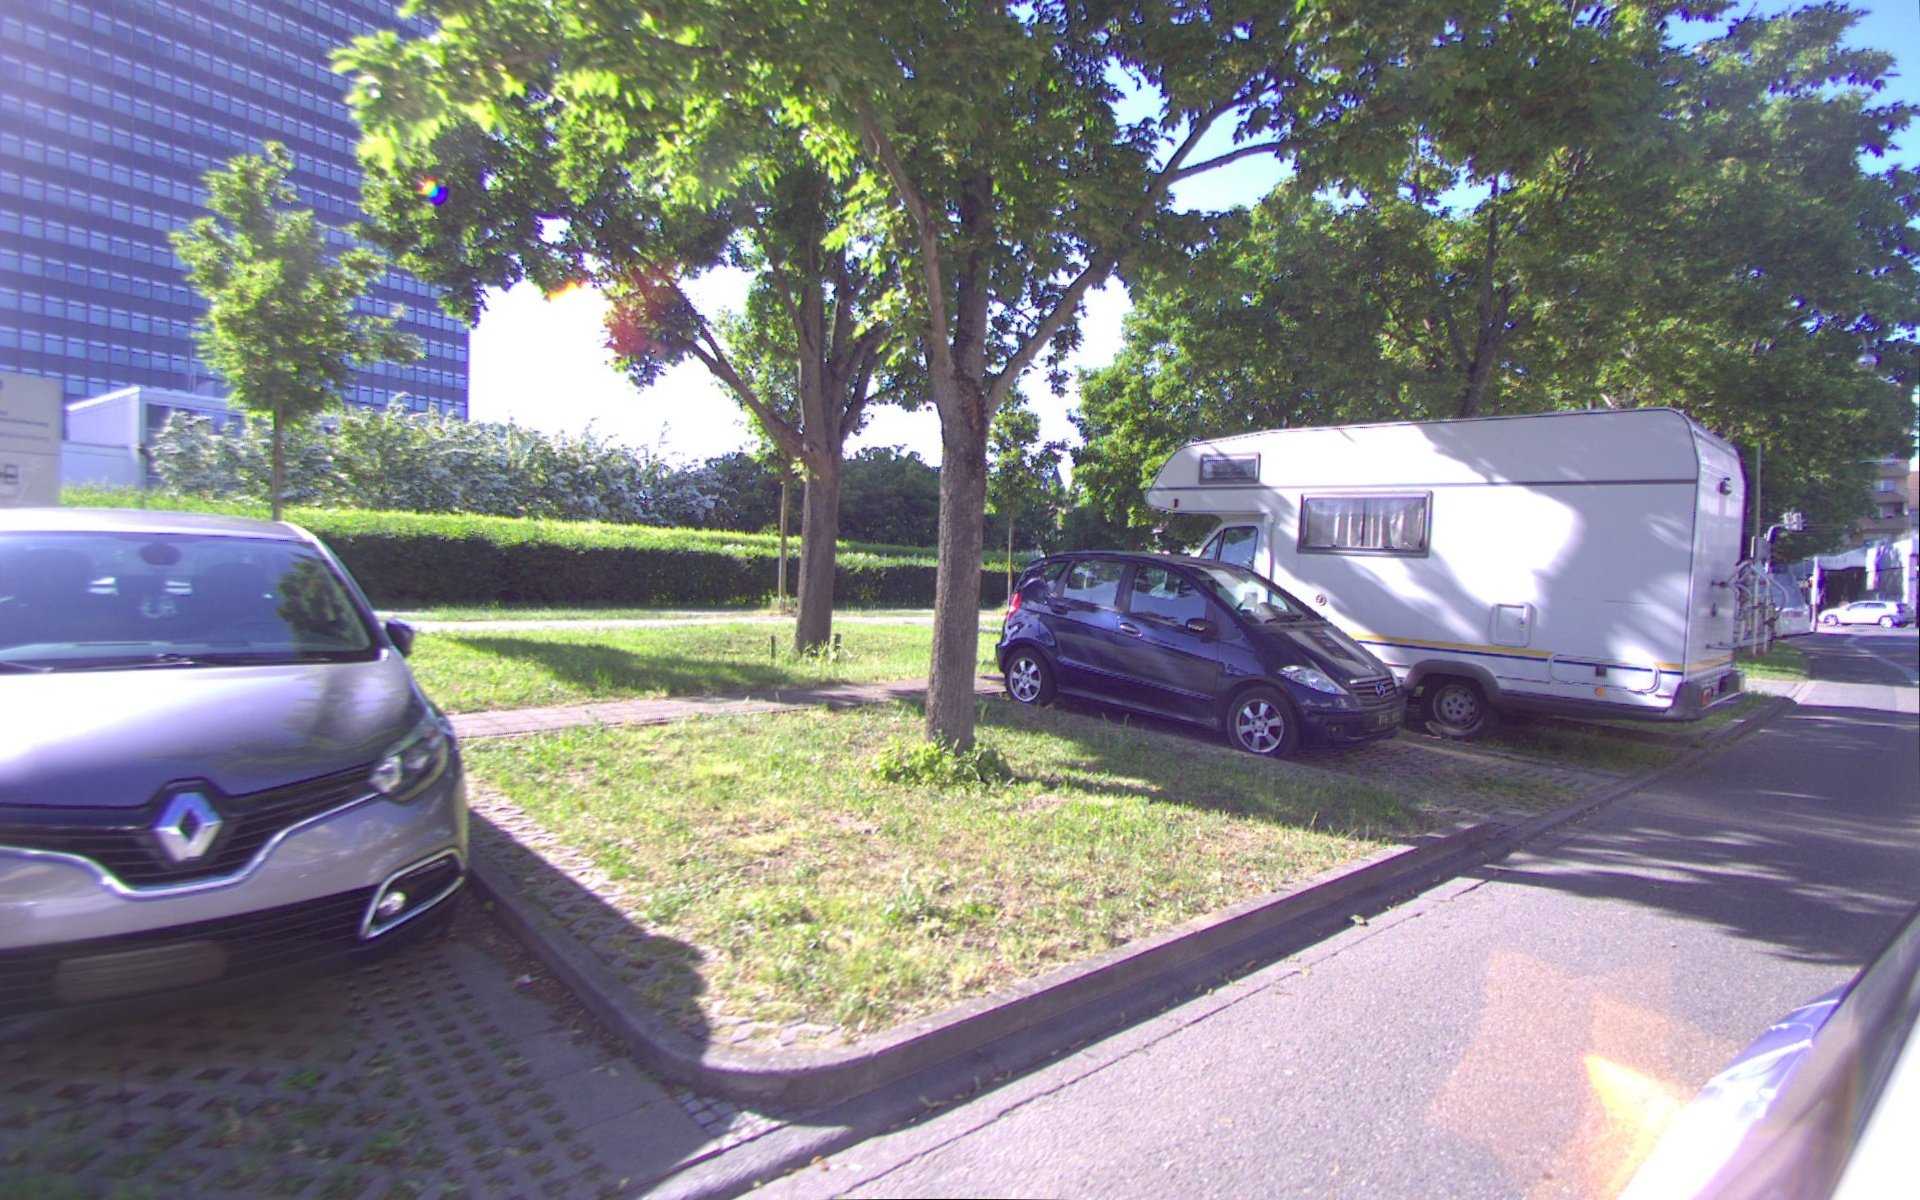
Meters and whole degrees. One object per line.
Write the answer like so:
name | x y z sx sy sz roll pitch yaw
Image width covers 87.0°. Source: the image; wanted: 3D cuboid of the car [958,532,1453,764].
car | 2.096 0.248 9.541 1.828 1.564 4.155 0 5 -44

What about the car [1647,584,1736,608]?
car | 48.145 -0.252 66.680 1.890 1.424 4.329 0 2 -25

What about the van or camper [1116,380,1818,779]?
van or camper | 4.914 -0.386 10.743 2.626 3.019 5.992 0 5 -43

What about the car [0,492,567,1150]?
car | -3.341 0.375 4.269 1.826 1.564 4.204 0 5 -41

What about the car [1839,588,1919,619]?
car | 52.484 0.179 56.964 1.890 1.573 4.078 0 2 -25

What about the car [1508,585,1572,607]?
car | 44.252 -0.345 77.294 1.892 1.573 3.759 0 2 -33
